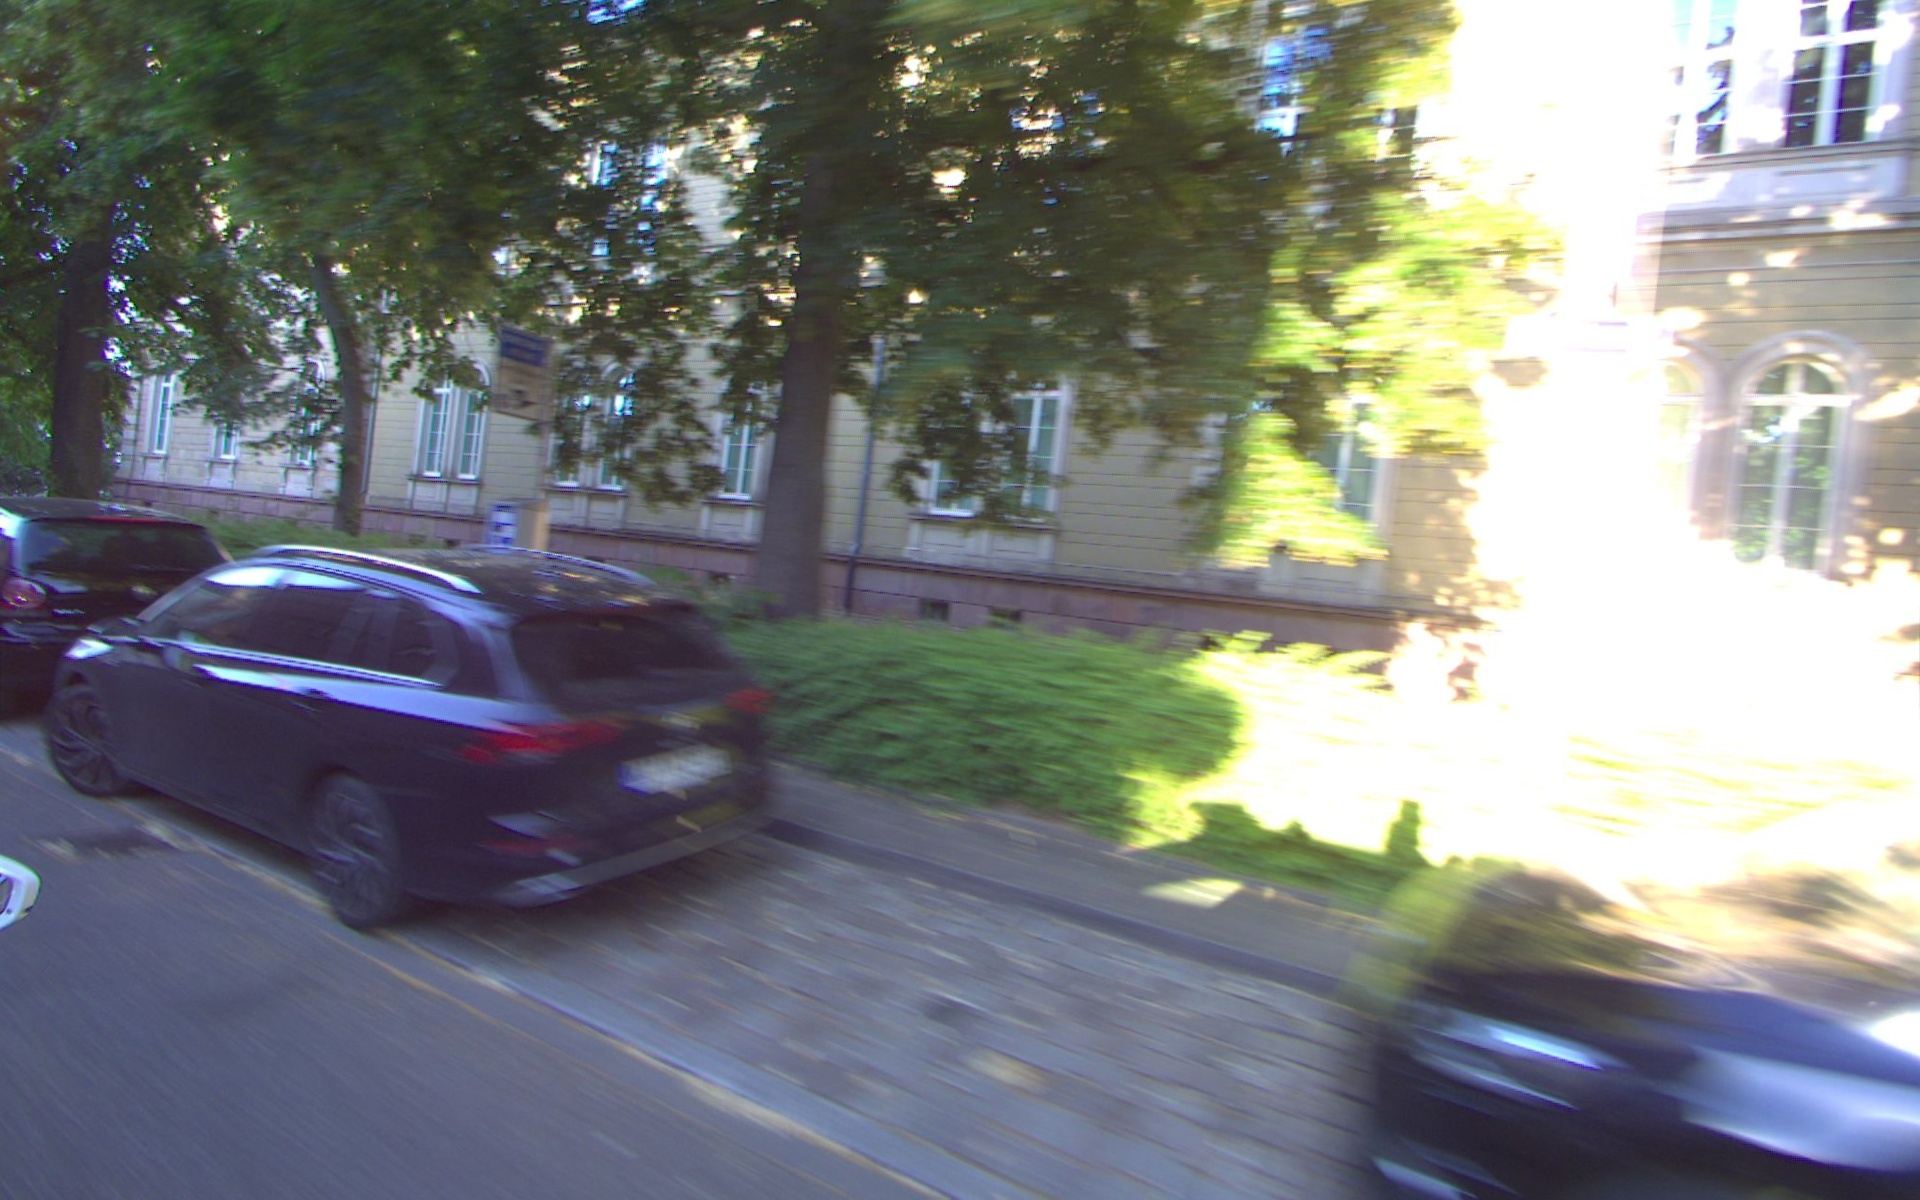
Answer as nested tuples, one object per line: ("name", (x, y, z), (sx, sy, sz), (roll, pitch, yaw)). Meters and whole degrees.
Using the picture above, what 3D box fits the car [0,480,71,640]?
("car", (-11.380, -0.614, 10.507), (4.445, 1.525, 1.737), (6, 0, 30))

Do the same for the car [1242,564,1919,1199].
("car", (3.031, 1.020, 1.939), (4.423, 1.703, 1.726), (6, 0, 30))

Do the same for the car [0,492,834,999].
("car", (-3.036, 0.367, 5.246), (4.545, 1.555, 1.723), (6, 4, 30))

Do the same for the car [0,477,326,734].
("car", (-7.068, -0.092, 7.903), (4.118, 1.553, 1.726), (6, 0, 30))
